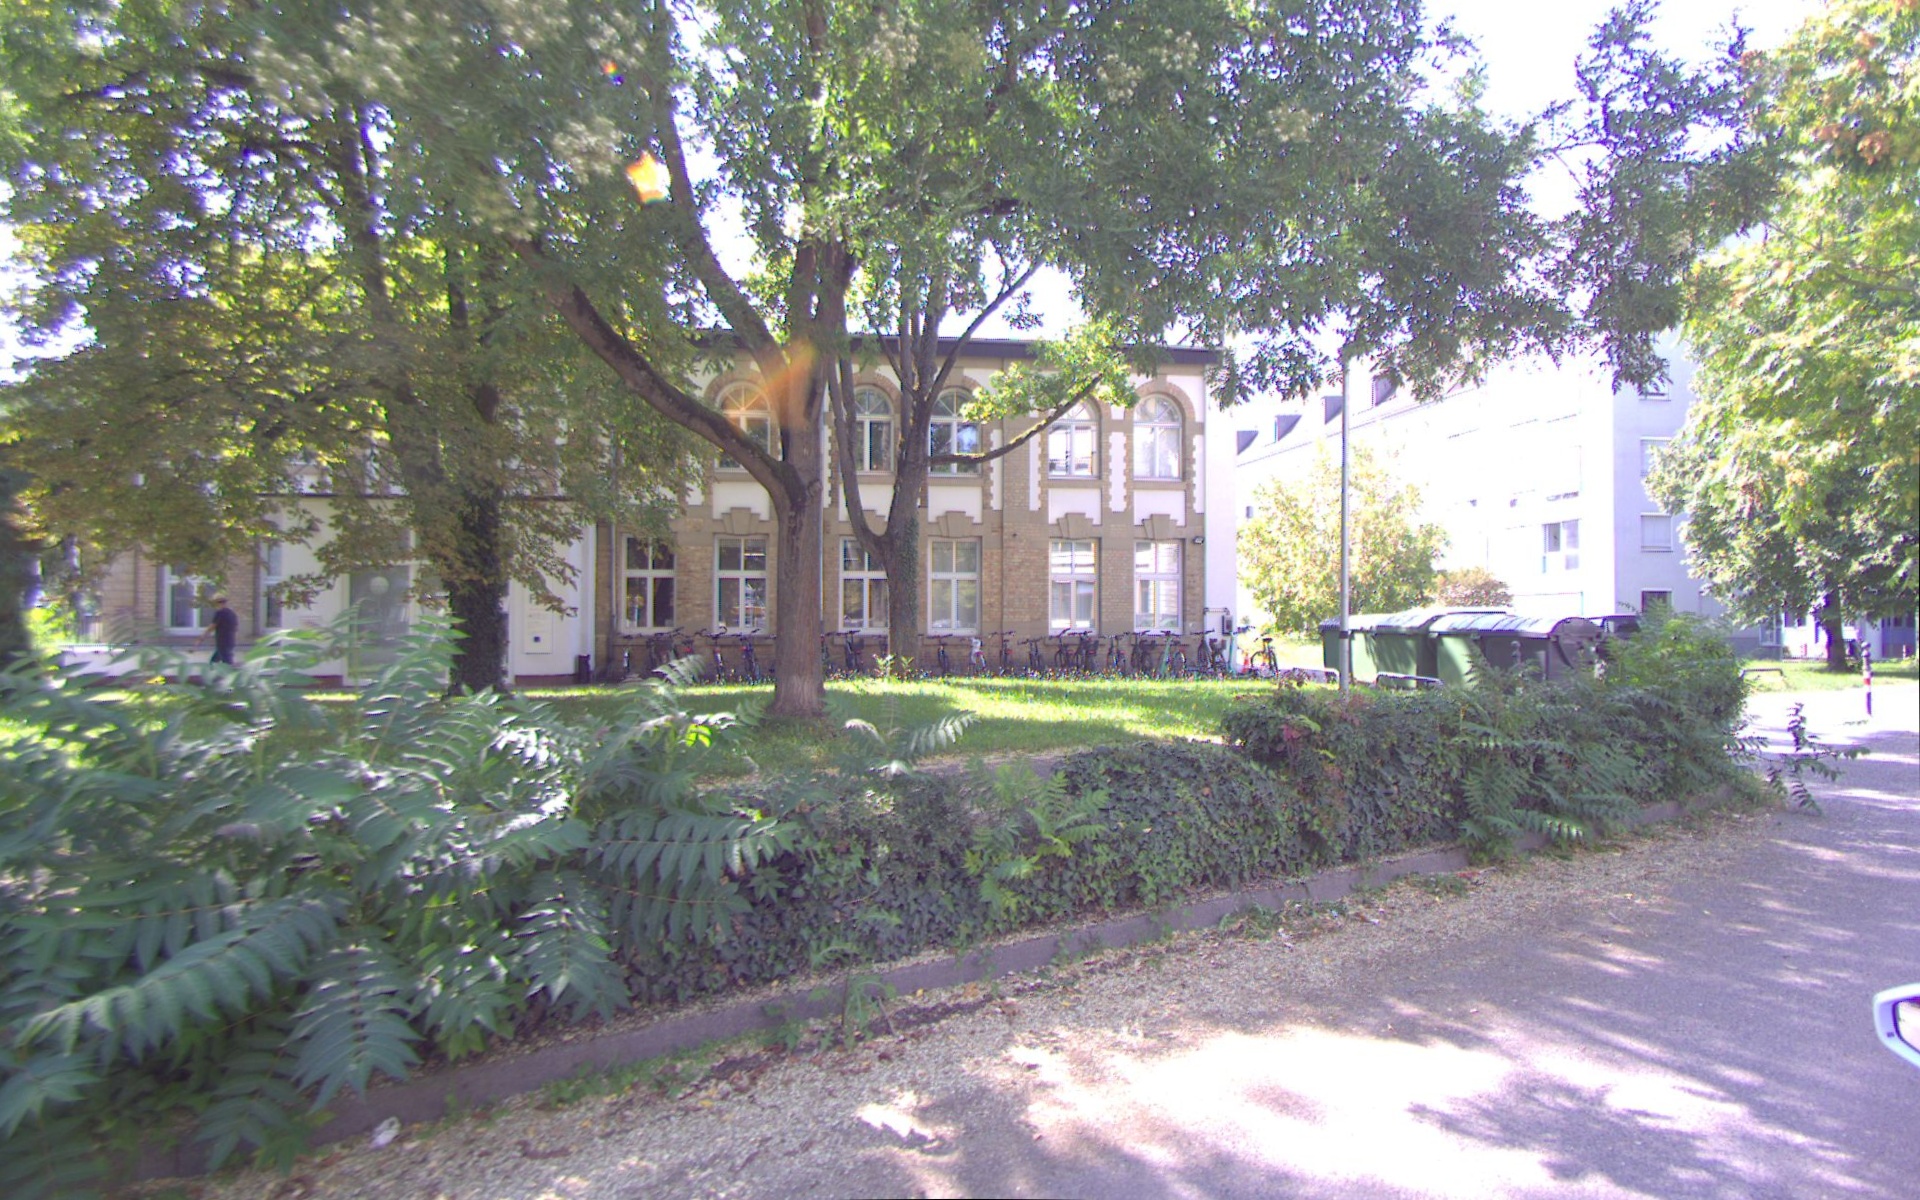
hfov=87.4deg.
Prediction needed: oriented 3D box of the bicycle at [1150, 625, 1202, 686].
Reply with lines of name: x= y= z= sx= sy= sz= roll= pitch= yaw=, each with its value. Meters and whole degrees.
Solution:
bicycle: x=4.861 y=1.240 z=22.760 sx=0.597 sy=1.320 sz=2.173 roll=0 pitch=-2 yaw=-3

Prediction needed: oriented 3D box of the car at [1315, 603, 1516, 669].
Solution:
car: x=13.767 y=1.071 z=30.596 sx=4.987 sy=1.906 sz=2.501 roll=0 pitch=-1 yaw=-5

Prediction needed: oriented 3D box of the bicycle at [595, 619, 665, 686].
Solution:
bicycle: x=-6.869 y=1.085 z=21.040 sx=0.757 sy=1.320 sz=2.525 roll=0 pitch=-2 yaw=-3

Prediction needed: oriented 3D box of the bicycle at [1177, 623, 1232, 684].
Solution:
bicycle: x=5.533 y=1.194 z=22.836 sx=0.597 sy=1.320 sz=2.173 roll=0 pitch=-2 yaw=-3

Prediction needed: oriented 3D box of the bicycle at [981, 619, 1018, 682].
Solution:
bicycle: x=0.859 y=1.101 z=22.252 sx=0.597 sy=1.320 sz=2.173 roll=0 pitch=-2 yaw=-3

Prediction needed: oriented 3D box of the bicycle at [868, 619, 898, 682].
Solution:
bicycle: x=-1.670 y=1.095 z=22.043 sx=0.615 sy=1.320 sz=2.272 roll=0 pitch=-2 yaw=-3

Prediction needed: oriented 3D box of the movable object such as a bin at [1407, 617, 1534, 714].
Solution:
movable object such as a bin: x=7.994 y=0.991 z=15.794 sx=1.228 sy=1.451 sz=1.328 roll=0 pitch=0 yaw=-14

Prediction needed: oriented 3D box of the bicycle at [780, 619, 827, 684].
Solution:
bicycle: x=-3.367 y=1.093 z=21.793 sx=0.757 sy=1.320 sz=2.525 roll=0 pitch=-2 yaw=-3

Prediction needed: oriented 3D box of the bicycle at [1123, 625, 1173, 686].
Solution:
bicycle: x=4.199 y=1.227 z=22.596 sx=0.597 sy=1.320 sz=2.173 roll=0 pitch=-2 yaw=-3

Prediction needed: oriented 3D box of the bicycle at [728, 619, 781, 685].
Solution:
bicycle: x=-4.341 y=1.079 z=21.399 sx=0.757 sy=1.320 sz=2.525 roll=0 pitch=-2 yaw=-3

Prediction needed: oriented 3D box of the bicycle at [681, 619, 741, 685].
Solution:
bicycle: x=-5.216 y=1.075 z=21.199 sx=0.757 sy=1.320 sz=2.525 roll=0 pitch=-2 yaw=-3

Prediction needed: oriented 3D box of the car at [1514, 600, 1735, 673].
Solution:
car: x=14.772 y=0.807 z=22.461 sx=3.835 sy=1.548 sz=1.707 roll=0 pitch=-1 yaw=-1

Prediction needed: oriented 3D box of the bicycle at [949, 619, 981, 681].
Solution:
bicycle: x=0.093 y=1.102 z=22.365 sx=0.597 sy=1.320 sz=2.173 roll=0 pitch=-2 yaw=-3

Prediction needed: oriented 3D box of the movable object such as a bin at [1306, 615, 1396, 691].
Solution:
movable object such as a bin: x=7.833 y=1.035 z=20.172 sx=1.228 sy=1.463 sz=1.204 roll=0 pitch=0 yaw=-13

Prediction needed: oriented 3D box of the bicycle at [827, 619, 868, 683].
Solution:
bicycle: x=-2.426 y=1.091 z=21.901 sx=0.757 sy=1.320 sz=2.272 roll=0 pitch=-2 yaw=-3

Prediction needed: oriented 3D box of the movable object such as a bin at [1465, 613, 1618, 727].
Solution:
movable object such as a bin: x=8.199 y=0.940 z=14.214 sx=1.316 sy=1.513 sz=1.366 roll=0 pitch=0 yaw=-21

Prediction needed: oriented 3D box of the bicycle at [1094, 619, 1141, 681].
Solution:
bicycle: x=3.523 y=1.106 z=22.645 sx=0.597 sy=1.320 sz=2.173 roll=0 pitch=-2 yaw=-3

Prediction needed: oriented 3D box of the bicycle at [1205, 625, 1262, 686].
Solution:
bicycle: x=6.202 y=1.236 z=22.894 sx=0.597 sy=1.320 sz=2.173 roll=0 pitch=-2 yaw=-3

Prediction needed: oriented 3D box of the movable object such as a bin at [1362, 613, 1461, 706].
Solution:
movable object such as a bin: x=7.614 y=0.980 z=16.976 sx=1.082 sy=1.501 sz=1.099 roll=0 pitch=0 yaw=-13

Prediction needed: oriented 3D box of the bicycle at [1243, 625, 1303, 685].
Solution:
bicycle: x=7.166 y=1.243 z=23.093 sx=0.597 sy=1.320 sz=2.173 roll=0 pitch=-2 yaw=-3

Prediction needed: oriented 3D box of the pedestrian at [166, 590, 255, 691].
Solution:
pedestrian: x=-14.087 y=0.748 z=18.899 sx=1.109 sy=1.852 sz=0.735 roll=0 pitch=-1 yaw=-7

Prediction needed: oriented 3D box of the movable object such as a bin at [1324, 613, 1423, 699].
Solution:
movable object such as a bin: x=7.553 y=0.994 z=18.401 sx=1.228 sy=1.515 sz=1.204 roll=0 pitch=0 yaw=-13

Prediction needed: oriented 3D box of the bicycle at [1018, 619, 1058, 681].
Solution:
bicycle: x=1.706 y=1.092 z=22.371 sx=0.597 sy=1.320 sz=2.173 roll=0 pitch=-2 yaw=-3

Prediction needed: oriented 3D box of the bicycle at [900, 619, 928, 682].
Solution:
bicycle: x=-1.027 y=1.094 z=22.136 sx=0.597 sy=1.320 sz=2.173 roll=0 pitch=-2 yaw=-3

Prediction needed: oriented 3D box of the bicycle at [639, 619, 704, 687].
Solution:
bicycle: x=-5.990 y=1.083 z=20.975 sx=0.757 sy=1.320 sz=2.525 roll=0 pitch=-2 yaw=-3

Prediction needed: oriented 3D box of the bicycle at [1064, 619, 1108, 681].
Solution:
bicycle: x=2.790 y=1.094 z=22.431 sx=0.597 sy=1.320 sz=2.173 roll=0 pitch=-2 yaw=-3
